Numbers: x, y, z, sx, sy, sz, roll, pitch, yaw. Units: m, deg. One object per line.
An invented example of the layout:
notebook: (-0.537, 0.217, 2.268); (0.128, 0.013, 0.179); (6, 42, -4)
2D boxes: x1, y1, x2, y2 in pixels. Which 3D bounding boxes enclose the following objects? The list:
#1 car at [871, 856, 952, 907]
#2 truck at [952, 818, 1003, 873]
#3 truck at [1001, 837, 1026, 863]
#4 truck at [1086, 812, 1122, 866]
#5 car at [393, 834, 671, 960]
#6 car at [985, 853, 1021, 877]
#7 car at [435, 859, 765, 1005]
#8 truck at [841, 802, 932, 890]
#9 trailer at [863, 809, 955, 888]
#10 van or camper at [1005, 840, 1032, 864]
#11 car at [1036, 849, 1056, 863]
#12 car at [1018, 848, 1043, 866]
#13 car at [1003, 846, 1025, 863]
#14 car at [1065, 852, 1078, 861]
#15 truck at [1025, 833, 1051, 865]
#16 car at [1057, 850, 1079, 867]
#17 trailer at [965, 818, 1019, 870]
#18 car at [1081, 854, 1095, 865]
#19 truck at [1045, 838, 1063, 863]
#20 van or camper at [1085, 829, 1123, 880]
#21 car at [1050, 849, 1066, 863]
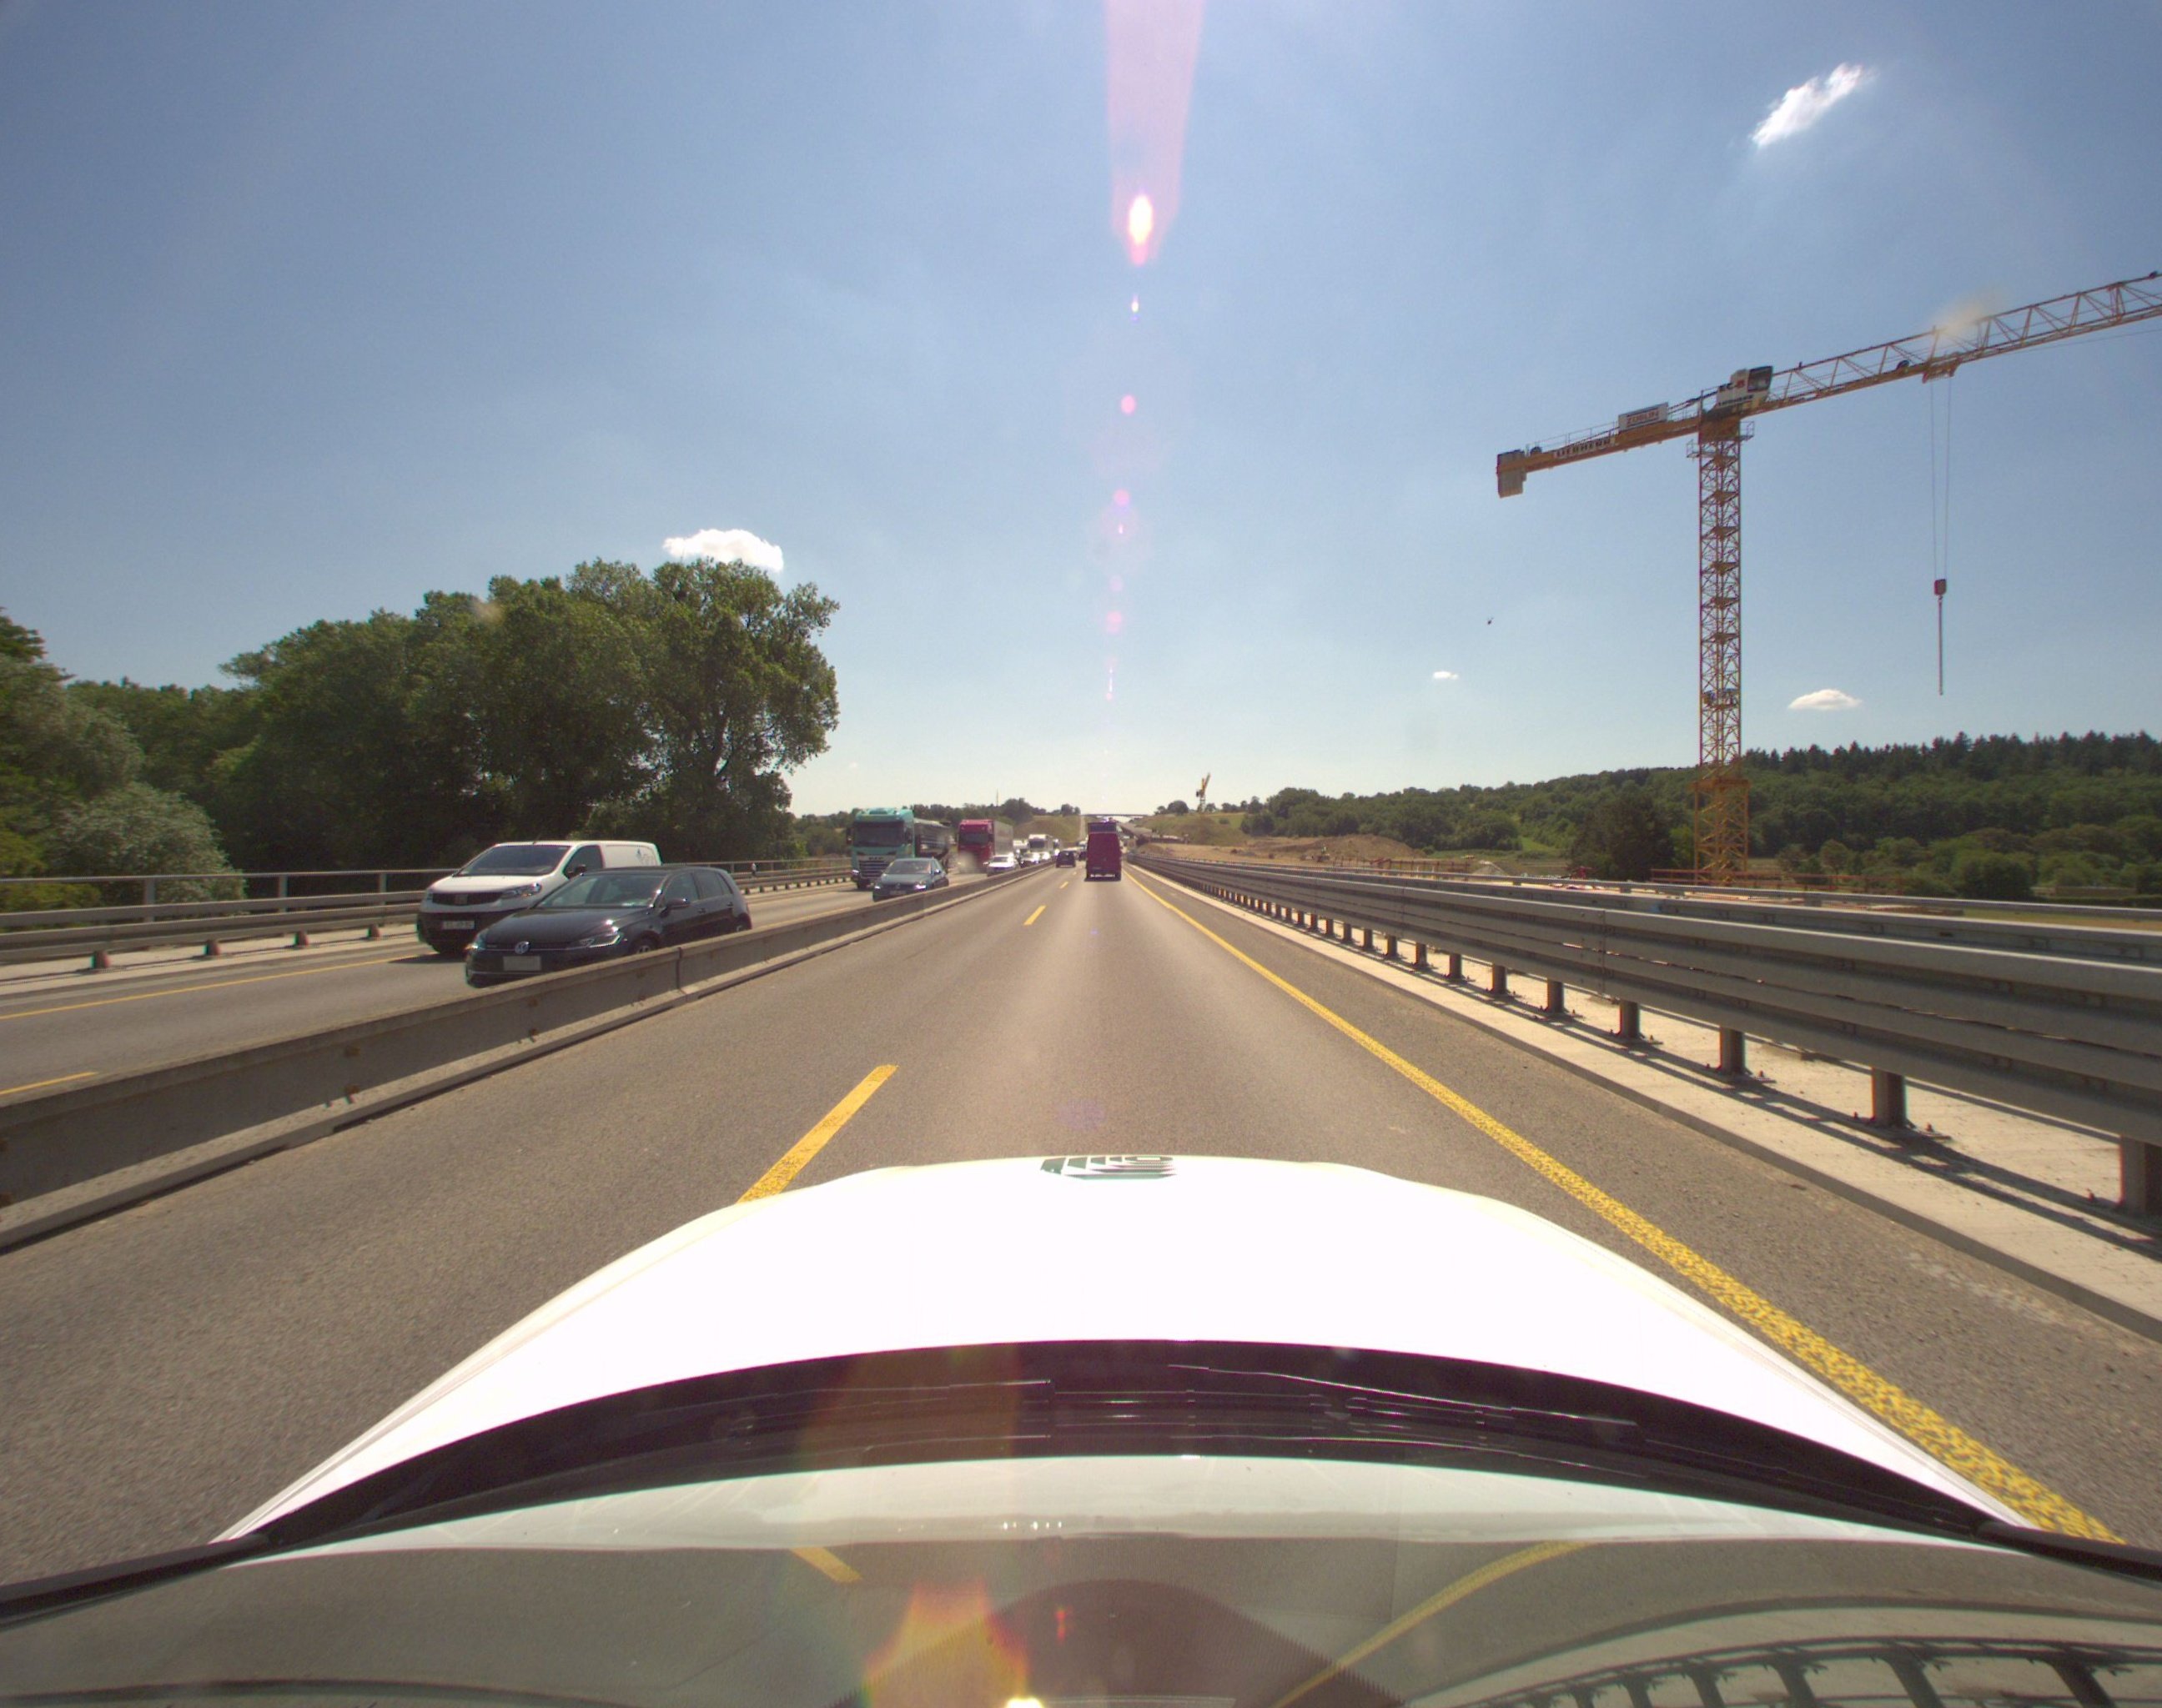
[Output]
car: (-5.325, 0.811, 26.063); (1.625, 1.408, 4.104); (-2, 0, 1)
truck: (-7.948, -0.671, 63.443); (2.804, 4.037, 6.528); (0, 1, 3)
truck: (-10.120, -0.573, 122.858); (2.893, 3.764, 8.371); (0, 0, 2)
truck: (2.053, -1.353, 76.407); (3.011, 4.693, 6.931); (-2, 0, 0)
car: (-9.553, 0.653, 14.761); (1.853, 1.867, 4.628); (-2, 0, 0)
car: (-4.950, 0.683, 52.040); (1.775, 1.379, 4.711); (-2, 0, 0)
car: (-5.786, 0.822, 10.514); (1.673, 1.392, 4.157); (-2, 0, 1)
truck: (-9.002, -0.332, 38.292); (2.787, 3.722, 5.374); (-3, 0, 1)
trailer: (-8.965, -0.251, 43.533); (2.785, 3.672, 8.956); (-3, 0, 0)
van or camper: (-7.144, -0.233, 94.123); (2.493, 2.698, 5.247); (-1, 0, 2)
car: (-3.920, 0.228, 91.696); (1.893, 1.461, 4.196); (2, -1, 3)
car: (-4.543, 0.268, 74.145); (1.883, 1.487, 4.921); (2, 0, 1)
car: (-7.078, 0.064, 86.195); (1.761, 1.734, 4.793); (1, 0, 2)
car: (-1.471, 0.366, 133.109); (1.858, 1.459, 4.610); (1, 0, 2)
truck: (-6.207, -0.725, 118.264); (3.065, 4.537, 7.107); (-1, 0, 3)
car: (-1.181, 0.414, 76.941); (2.005, 1.545, 4.132); (0, 0, 0)
trailer: (-7.576, -0.899, 71.007); (2.795, 4.176, 11.808); (0, 1, 3)
car: (1.121, 0.753, 122.112); (2.005, 1.545, 4.133); (1, 0, 1)
truck: (-4.849, -0.705, 149.803); (2.795, 4.392, 6.228); (-1, 0, 2)
van or camper: (1.263, 0.034, 46.085); (2.023, 2.744, 4.514); (0, 0, 0)
car: (-2.975, 0.280, 105.354); (1.841, 1.688, 4.619); (2, -1, 1)
